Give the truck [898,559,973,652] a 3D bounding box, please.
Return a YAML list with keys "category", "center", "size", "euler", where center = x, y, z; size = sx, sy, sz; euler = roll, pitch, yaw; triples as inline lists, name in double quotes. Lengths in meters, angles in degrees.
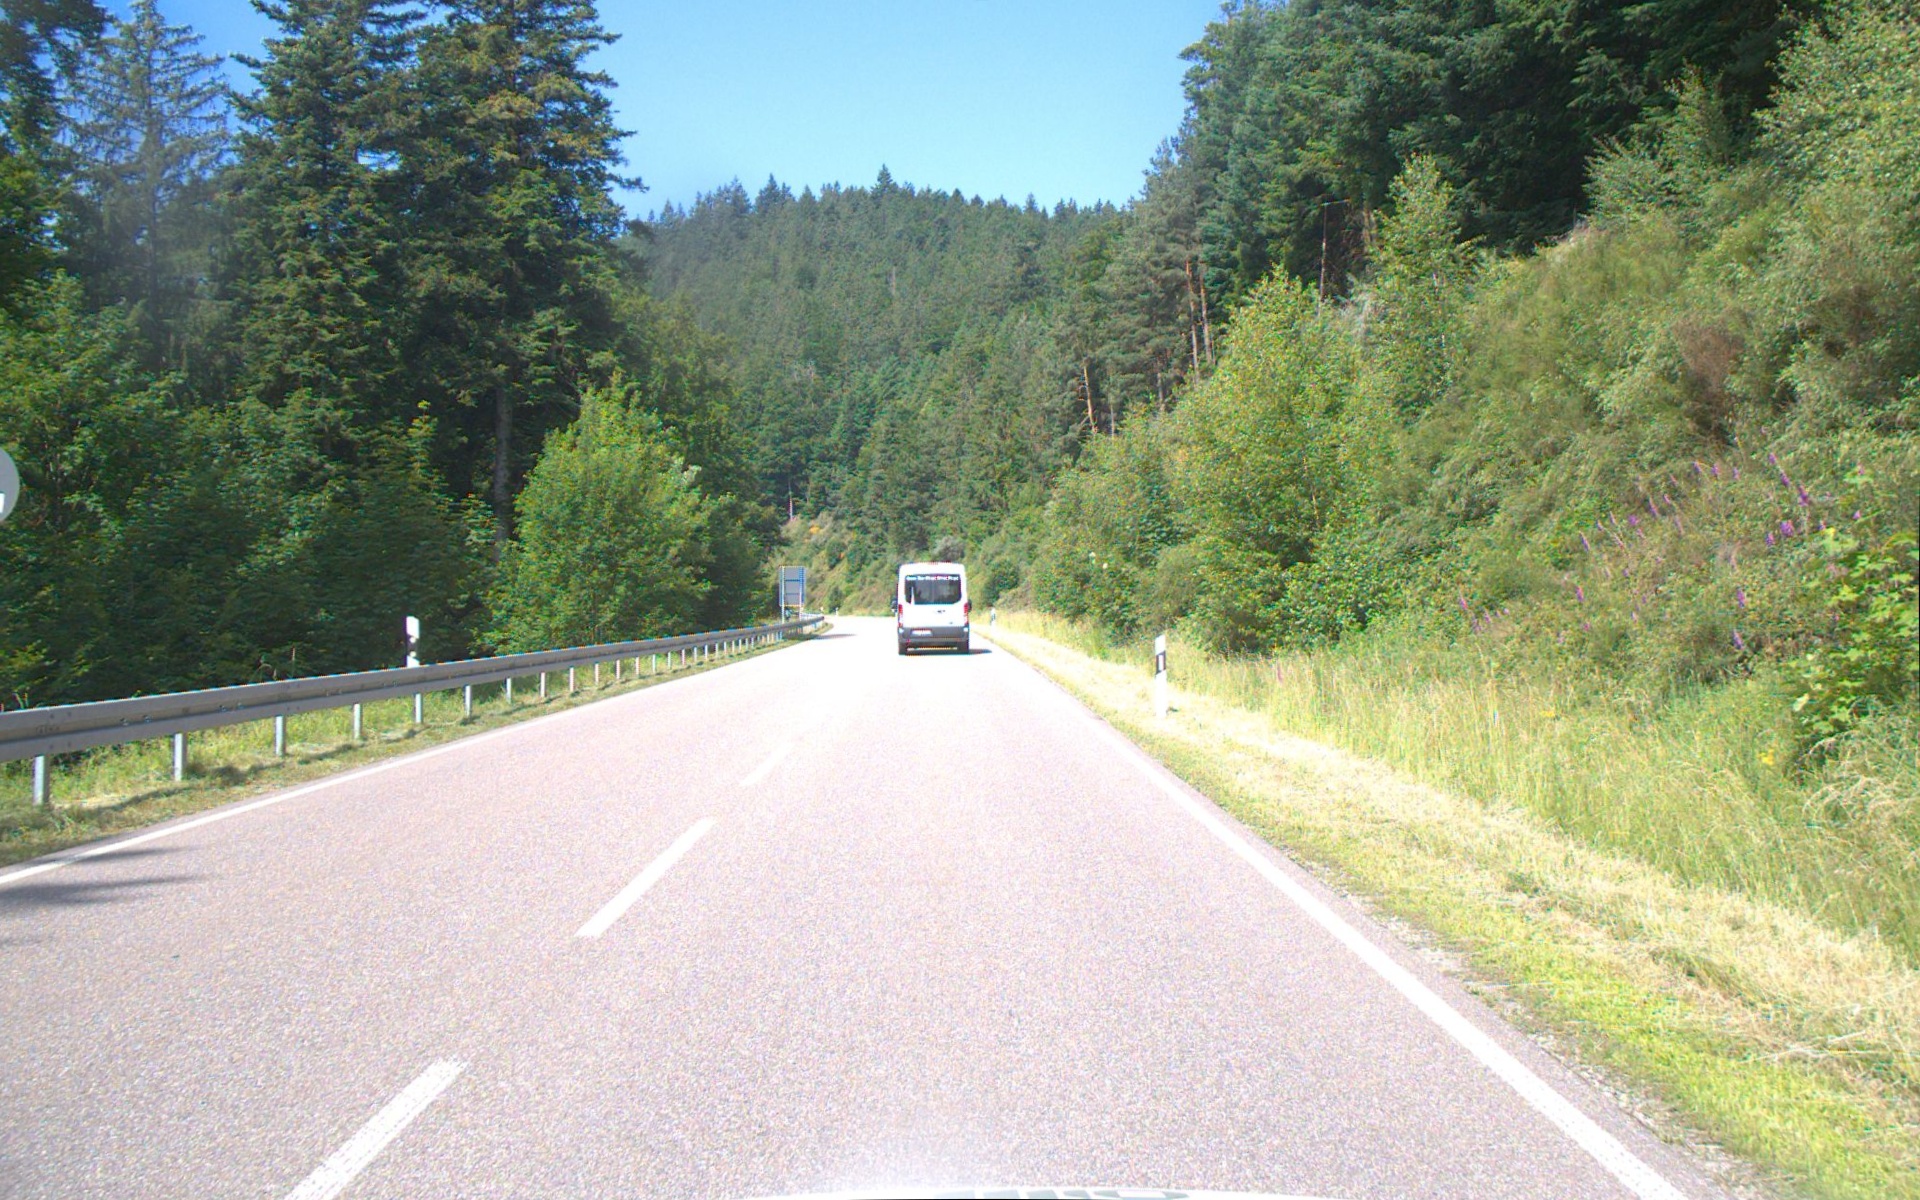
- category: "truck"
  center: [-0.655, 0.154, 47.047]
  size: [2.041, 2.503, 4.874]
  euler: [0, 0, 0]
